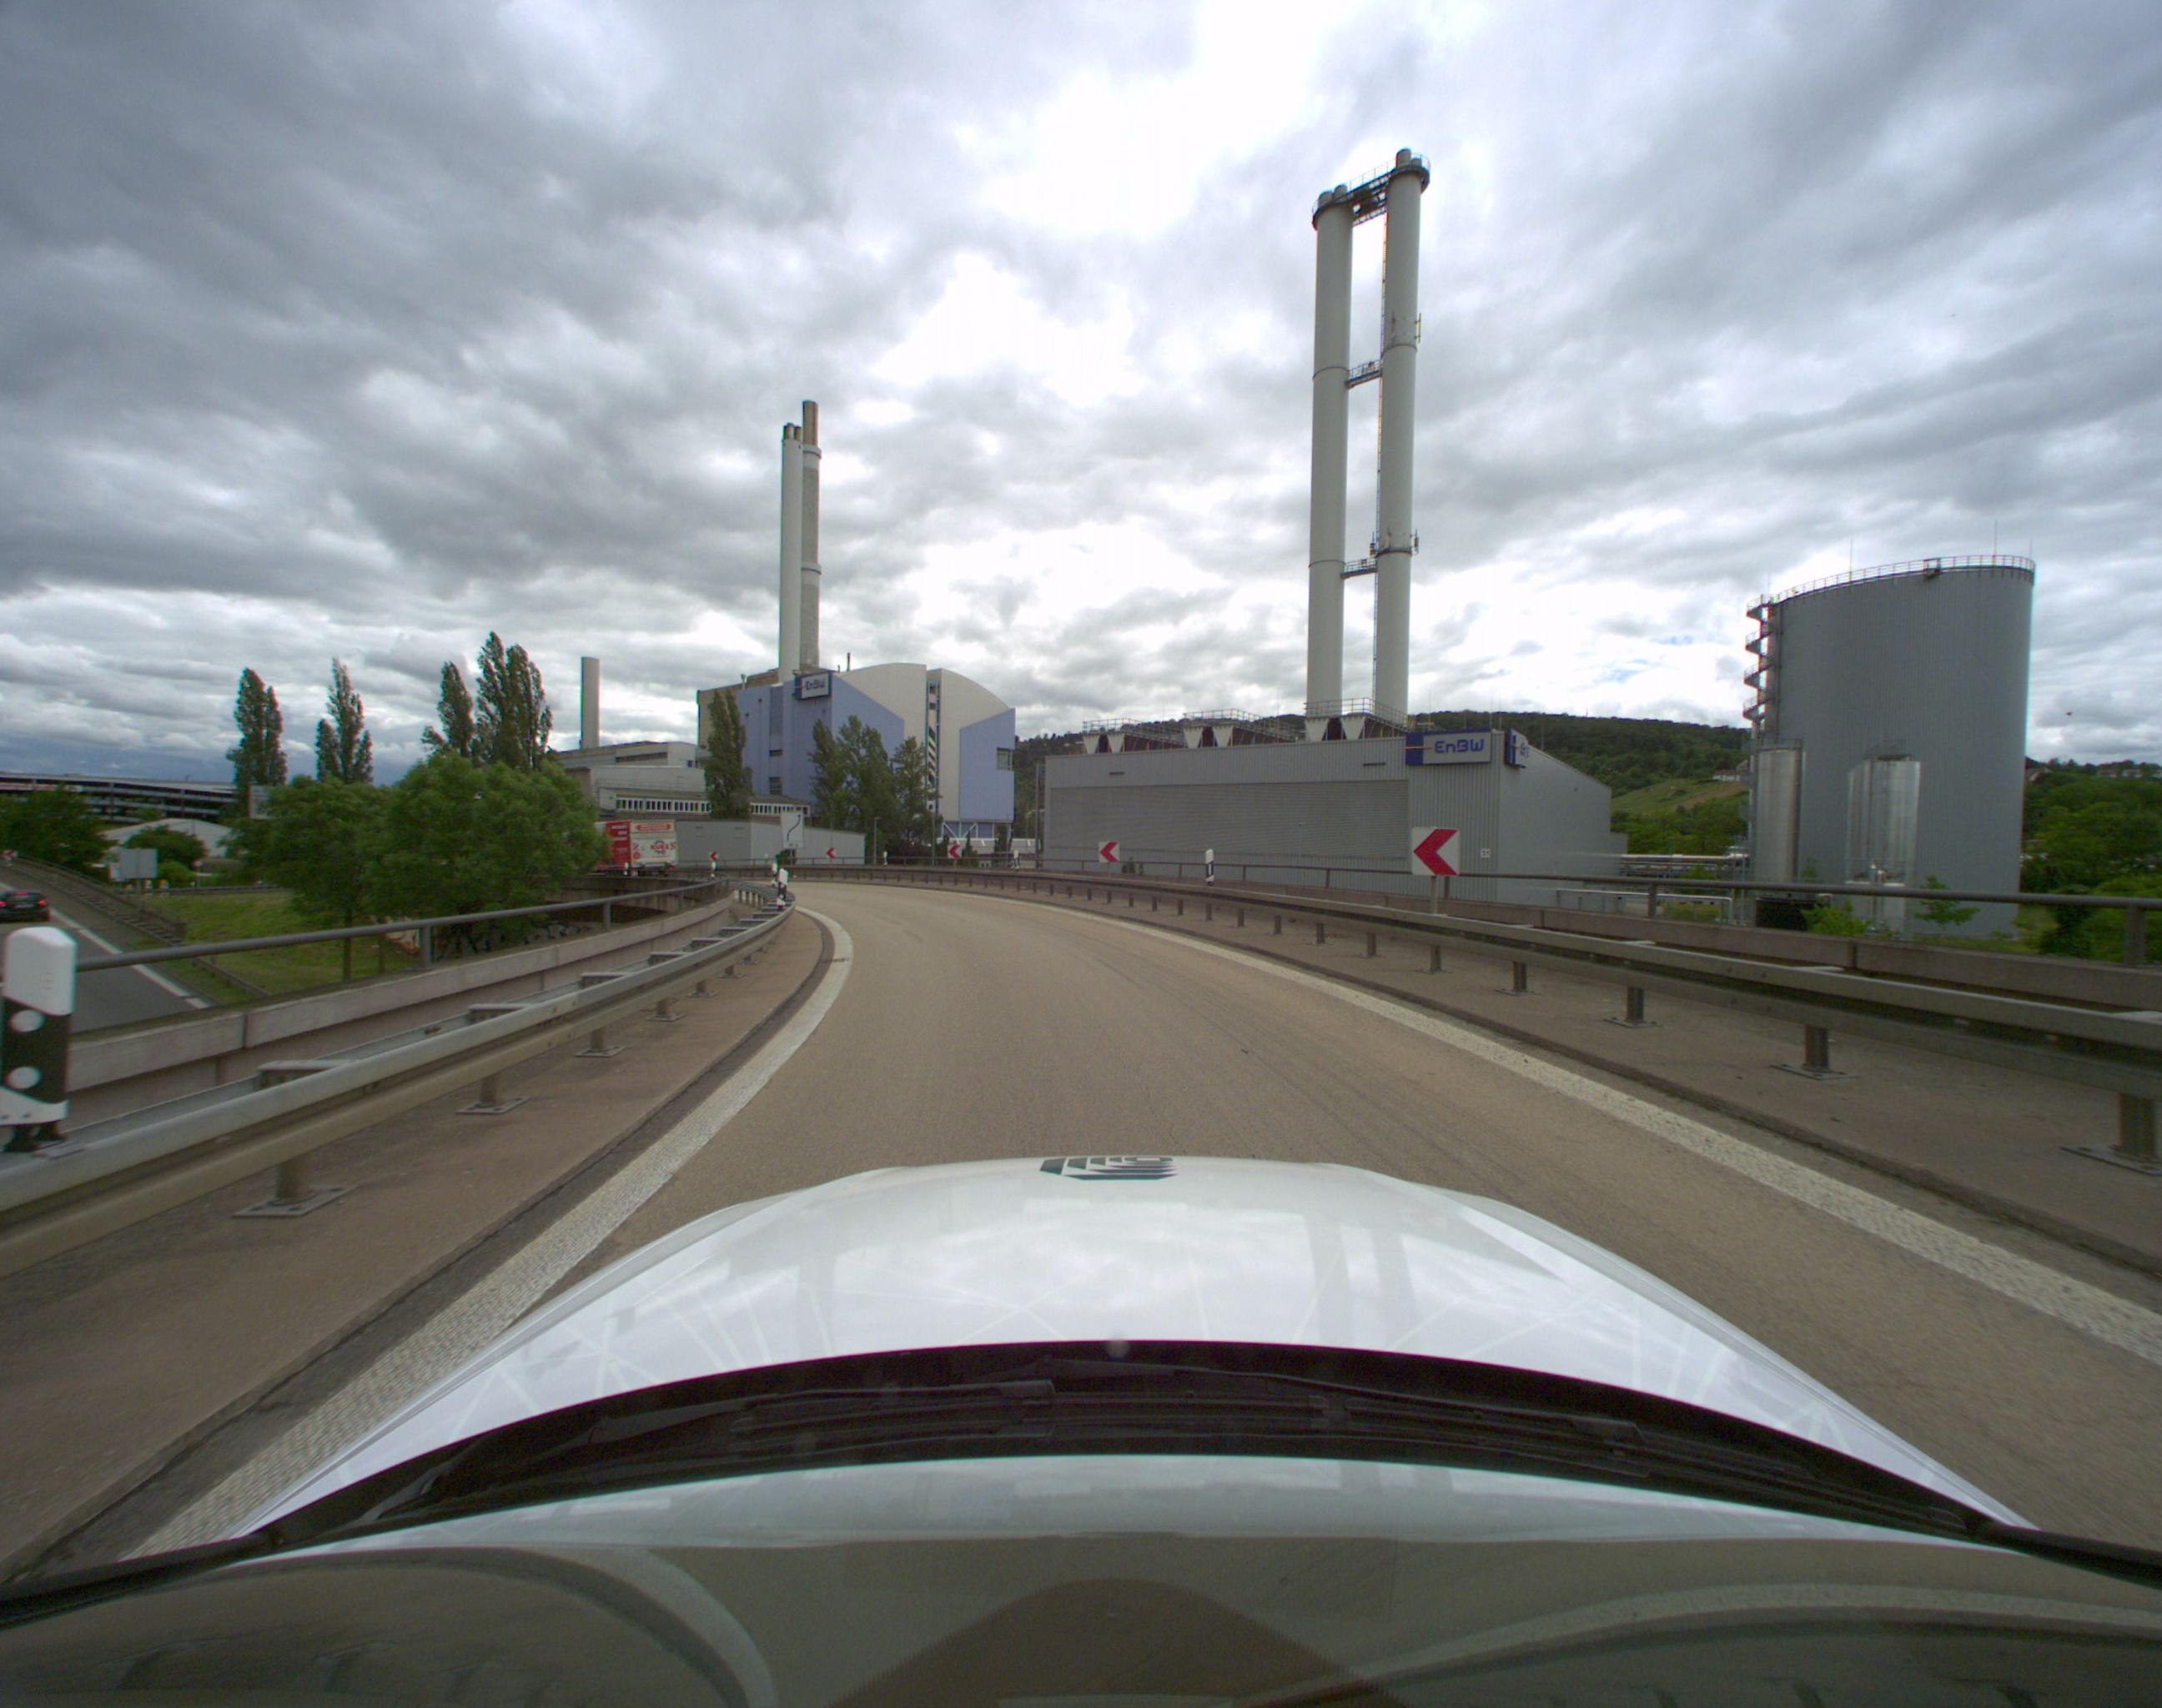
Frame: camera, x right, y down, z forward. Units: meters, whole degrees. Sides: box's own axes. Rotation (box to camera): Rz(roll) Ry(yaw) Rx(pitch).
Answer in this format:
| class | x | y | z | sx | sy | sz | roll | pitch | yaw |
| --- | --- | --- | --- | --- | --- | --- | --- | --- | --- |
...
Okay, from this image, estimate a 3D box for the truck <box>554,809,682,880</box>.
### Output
| class | x | y | z | sx | sy | sz | roll | pitch | yaw |
| --- | --- | --- | --- | --- | --- | --- | --- | --- | --- |
| truck | -25.875 | -0.555 | 45.360 | 7.825 | 3.673 | 3.080 | 1 | 1 | 34 |
